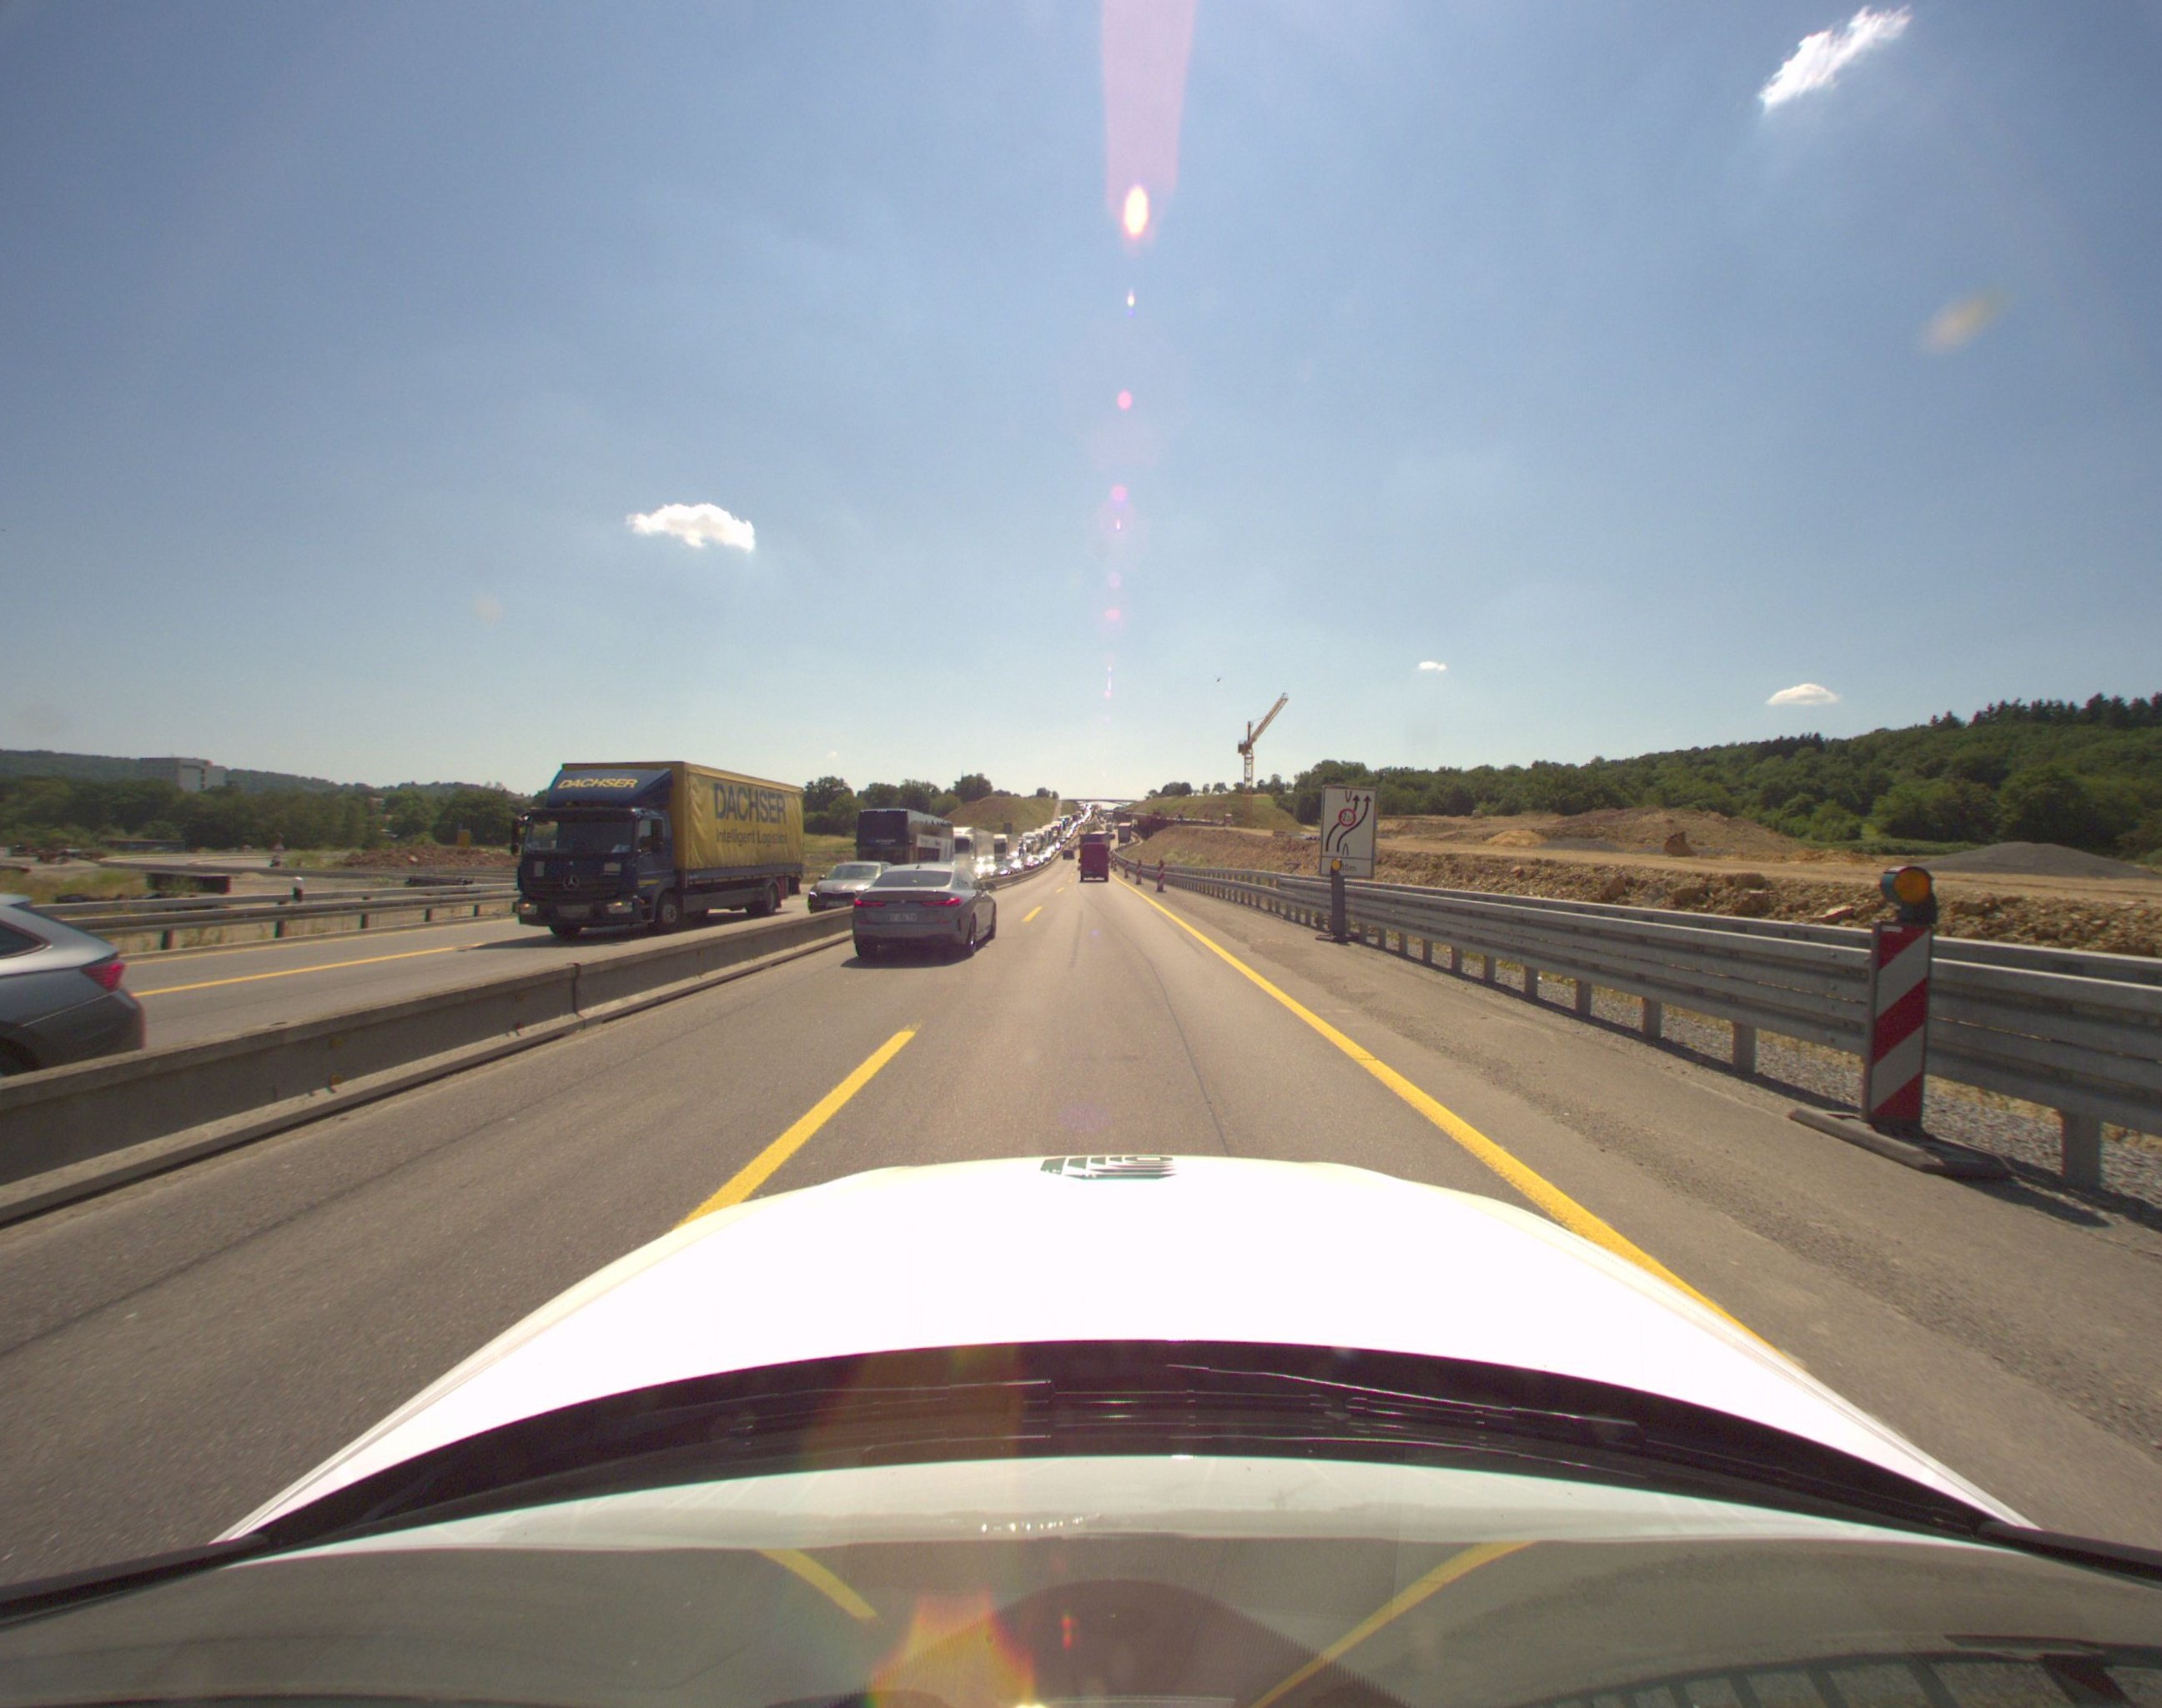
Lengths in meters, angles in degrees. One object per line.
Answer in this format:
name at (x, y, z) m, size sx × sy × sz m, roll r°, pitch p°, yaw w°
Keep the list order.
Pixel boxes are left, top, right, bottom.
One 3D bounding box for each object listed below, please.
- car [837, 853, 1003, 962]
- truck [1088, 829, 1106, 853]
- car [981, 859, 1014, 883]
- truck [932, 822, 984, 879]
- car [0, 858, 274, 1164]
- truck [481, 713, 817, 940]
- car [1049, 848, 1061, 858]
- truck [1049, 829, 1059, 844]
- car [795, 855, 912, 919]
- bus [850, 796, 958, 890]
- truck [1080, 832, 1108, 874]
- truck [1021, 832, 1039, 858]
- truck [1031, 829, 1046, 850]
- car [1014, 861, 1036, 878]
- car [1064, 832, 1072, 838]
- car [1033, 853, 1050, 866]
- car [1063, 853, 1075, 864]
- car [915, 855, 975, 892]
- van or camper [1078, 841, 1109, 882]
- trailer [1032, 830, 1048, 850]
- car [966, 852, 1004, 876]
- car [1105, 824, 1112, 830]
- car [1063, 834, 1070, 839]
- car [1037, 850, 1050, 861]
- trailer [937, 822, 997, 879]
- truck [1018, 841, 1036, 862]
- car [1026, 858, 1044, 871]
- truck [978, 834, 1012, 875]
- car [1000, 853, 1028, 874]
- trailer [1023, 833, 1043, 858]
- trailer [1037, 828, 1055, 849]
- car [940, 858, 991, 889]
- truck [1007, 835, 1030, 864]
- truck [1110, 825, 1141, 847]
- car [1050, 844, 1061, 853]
car at (-2.497, 0.749, 13.869) m, size 1.845 × 1.452 × 4.742 m, roll 0°, pitch 1°, yaw 0°
truck at (2.847, -2.333, 146.912) m, size 3.029 × 4.100 × 7.083 m, roll -1°, pitch -1°, yaw 0°
car at (-5.905, 1.177, 58.037) m, size 1.807 × 1.437 × 5.120 m, roll 1°, pitch 1°, yaw -1°
truck at (-9.362, -0.293, 62.703) m, size 3.088 × 4.197 × 6.700 m, roll 0°, pitch 0°, yaw -1°
car at (-6.212, 0.811, 2.736) m, size 1.876 × 1.432 × 5.125 m, roll 1°, pitch 1°, yaw 0°
truck at (-9.591, -0.452, 20.021) m, size 2.793 × 4.152 × 10.078 m, roll -1°, pitch -1°, yaw 0°
car at (-4.505, -0.151, 140.299) m, size 1.821 × 1.535 × 4.546 m, roll -2°, pitch 0°, yaw 0°
truck at (-7.002, -4.617, 212.333) m, size 2.676 × 3.839 × 7.382 m, roll 0°, pitch 1°, yaw -2°
car at (-6.078, 0.817, 22.415) m, size 1.854 × 1.494 × 4.902 m, roll -2°, pitch 0°, yaw -1°
bus at (-9.223, -0.453, 44.568) m, size 2.730 × 4.264 × 14.473 m, roll 0°, pitch 0°, yaw 0°
truck at (1.462, -0.193, 96.211) m, size 3.011 × 4.692 × 6.932 m, roll -2°, pitch 1°, yaw 0°
truck at (-8.464, -1.477, 136.441) m, size 2.542 × 4.230 × 6.530 m, roll 0°, pitch 1°, yaw 0°
truck at (-8.397, -2.868, 161.759) m, size 2.774 × 3.869 × 5.458 m, roll 0°, pitch -1°, yaw -1°
car at (-5.857, 1.593, 85.062) m, size 1.987 × 1.631 × 4.757 m, roll 1°, pitch 1°, yaw -1°
car at (-3.606, -5.329, 226.844) m, size 1.946 × 1.530 × 4.267 m, roll 0°, pitch 1°, yaw 0°
car at (-5.250, 0.664, 108.180) m, size 1.987 × 1.557 × 4.338 m, roll -2°, pitch 1°, yaw 0°
car at (-1.920, 0.708, 131.349) m, size 2.006 × 1.545 × 4.131 m, roll 0°, pitch 1°, yaw -1°
car at (-6.038, 0.826, 36.674) m, size 1.832 × 1.443 × 4.929 m, roll 0°, pitch 1°, yaw 0°
van or camper at (0.841, 0.470, 57.058) m, size 2.023 × 2.744 × 4.513 m, roll 0°, pitch 1°, yaw -1°
trailer at (-8.380, -2.867, 167.967) m, size 2.774 × 3.931 × 11.007 m, roll 0°, pitch 0°, yaw 0°
car at (-5.967, 0.626, 51.000) m, size 1.827 × 1.423 × 4.681 m, roll -1°, pitch 0°, yaw -1°
car at (8.475, -8.323, 253.740) m, size 1.946 × 1.641 × 4.267 m, roll 1°, pitch 0°, yaw 0°
car at (-3.610, -4.481, 207.602) m, size 1.741 × 1.409 × 4.000 m, roll 0°, pitch 1°, yaw 0°
car at (-5.755, 0.218, 125.054) m, size 1.821 × 1.651 × 4.545 m, roll 1°, pitch 0°, yaw 0°
trailer at (-9.414, -0.298, 69.353) m, size 3.130 × 4.383 × 14.075 m, roll 0°, pitch 0°, yaw 0°
truck at (-8.369, -0.424, 127.234) m, size 2.427 × 3.148 × 7.021 m, roll -1°, pitch 1°, yaw -1°
car at (-5.450, 1.270, 96.888) m, size 1.821 × 1.574 × 3.999 m, roll 0°, pitch -1°, yaw 0°
truck at (-9.029, 0.030, 86.225) m, size 2.967 × 4.184 × 5.874 m, roll 0°, pitch 0°, yaw 0°
car at (-5.726, 0.773, 69.672) m, size 1.987 × 1.620 × 4.881 m, roll -1°, pitch 1°, yaw -1°
trailer at (-8.413, -1.534, 144.297) m, size 2.586 × 4.257 × 12.469 m, roll 0°, pitch 1°, yaw 1°
trailer at (-7.976, -3.583, 187.022) m, size 3.030 × 4.551 × 12.137 m, roll 0°, pitch 1°, yaw 3°
car at (-5.967, 0.965, 42.495) m, size 1.912 × 1.423 × 5.090 m, roll 1°, pitch 0°, yaw 0°
truck at (-8.573, -0.624, 112.089) m, size 2.517 × 3.855 × 8.669 m, roll 0°, pitch 1°, yaw 0°
truck at (10.894, -4.389, 198.013) m, size 5.125 × 4.996 × 13.926 m, roll -2°, pitch 1°, yaw 13°
car at (-5.127, -1.159, 165.245) m, size 1.988 × 1.783 × 3.998 m, roll -2°, pitch 1°, yaw -1°
